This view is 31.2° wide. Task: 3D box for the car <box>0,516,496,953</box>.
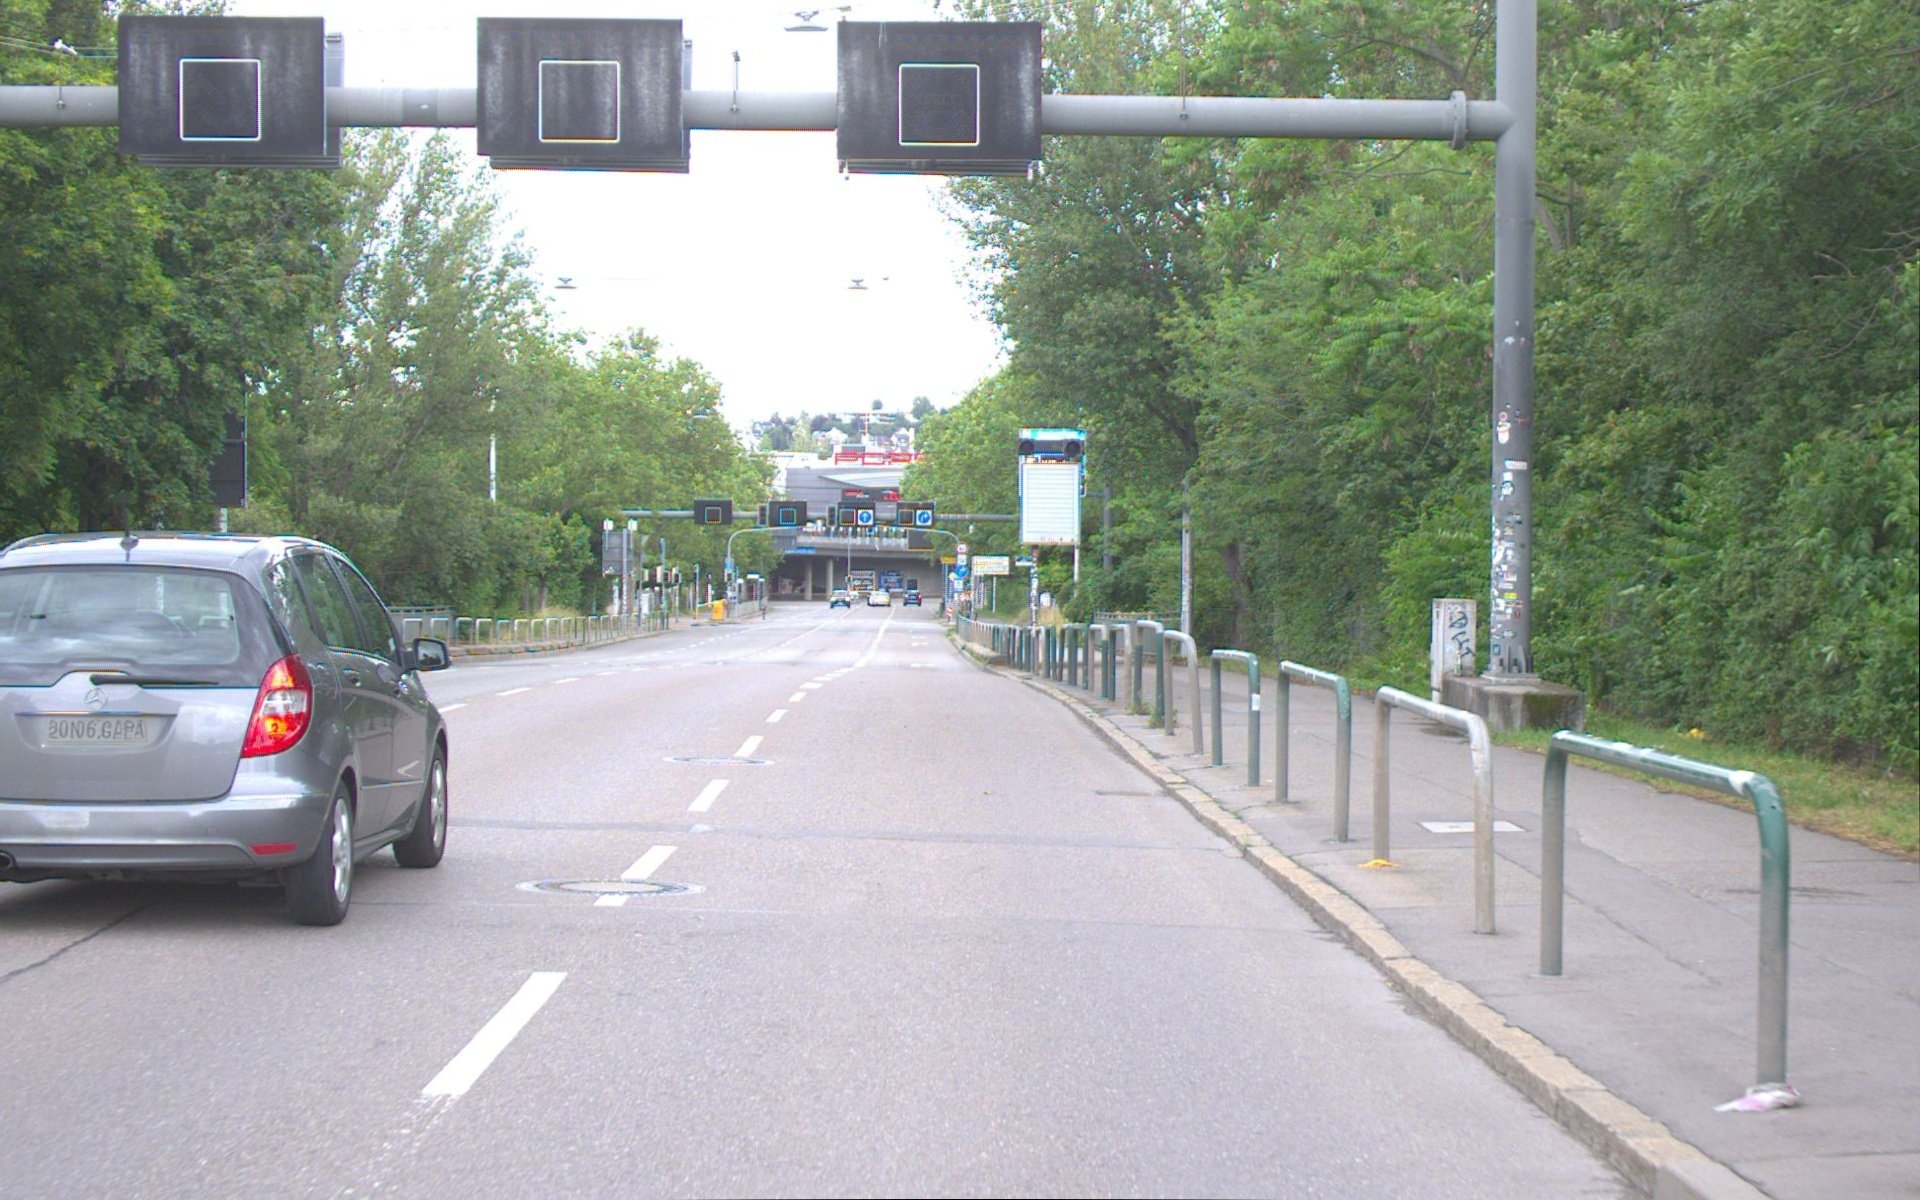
[{"bbox_3d":[-3.299,0.525,15.025,1.826,1.611,4.033,2,-1,2],"label":"car"}]
